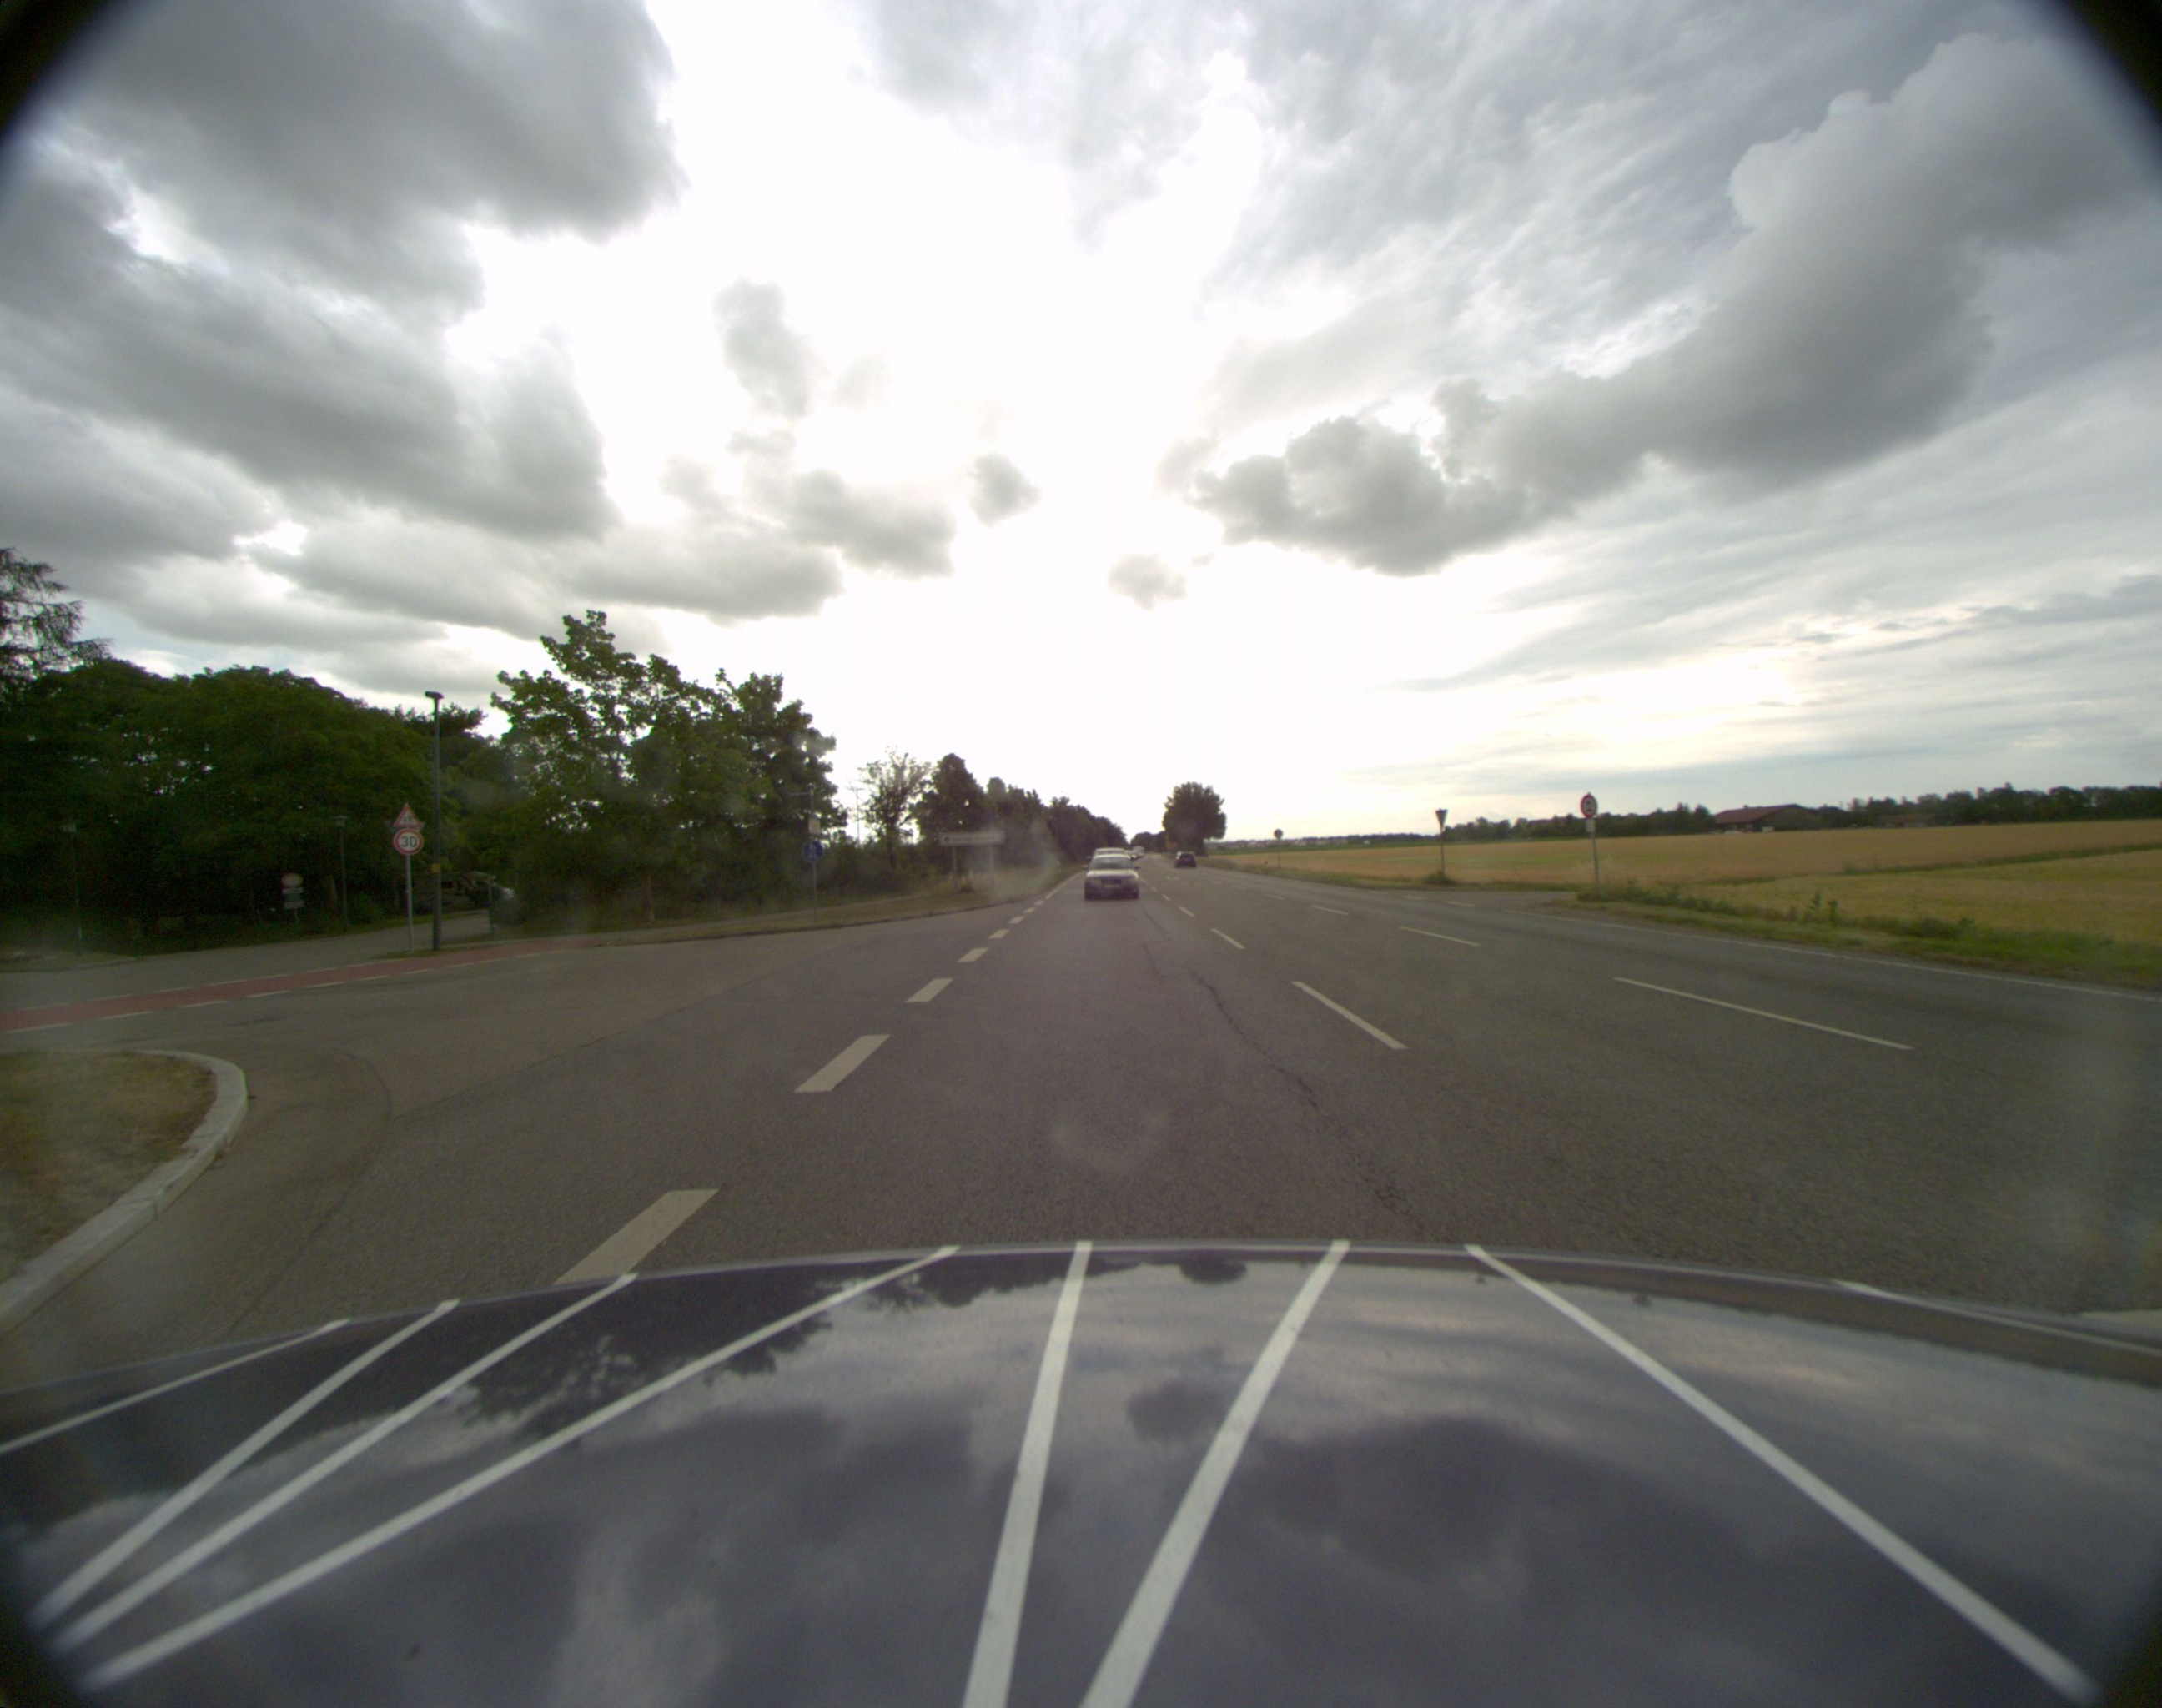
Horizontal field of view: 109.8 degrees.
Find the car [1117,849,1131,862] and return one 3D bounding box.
[{"bbox_3d":[5.499,0.177,97.287,1.793,1.573,4.188,-1,0,4],"label":"car"}]

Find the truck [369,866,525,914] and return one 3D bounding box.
[{"bbox_3d":[-47.393,2.599,57.170,8.383,3.092,3.067,-2,1,-26],"label":"truck"}]

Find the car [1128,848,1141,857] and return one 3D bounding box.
[{"bbox_3d":[9.657,-0.296,136.623,1.953,1.573,4.139,-1,0,9],"label":"car"}]

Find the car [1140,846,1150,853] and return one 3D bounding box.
[{"bbox_3d":[14.211,-0.955,168.951,1.792,1.531,4.139,-1,0,9],"label":"car"}]

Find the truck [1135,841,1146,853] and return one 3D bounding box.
[{"bbox_3d":[14.645,-1.664,187.260,2.320,2.749,7.672,-2,1,1],"label":"truck"}]

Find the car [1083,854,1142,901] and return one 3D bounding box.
[{"bbox_3d":[1.061,0.728,25.786,1.793,1.415,4.367,-1,0,2],"label":"car"}]

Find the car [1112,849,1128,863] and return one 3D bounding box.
[{"bbox_3d":[4.556,0.183,88.248,1.793,1.573,4.368,-1,0,3],"label":"car"}]

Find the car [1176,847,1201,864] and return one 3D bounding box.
[{"bbox_3d":[9.677,0.152,68.894,1.998,1.501,4.001,0,1,5],"label":"car"}]
